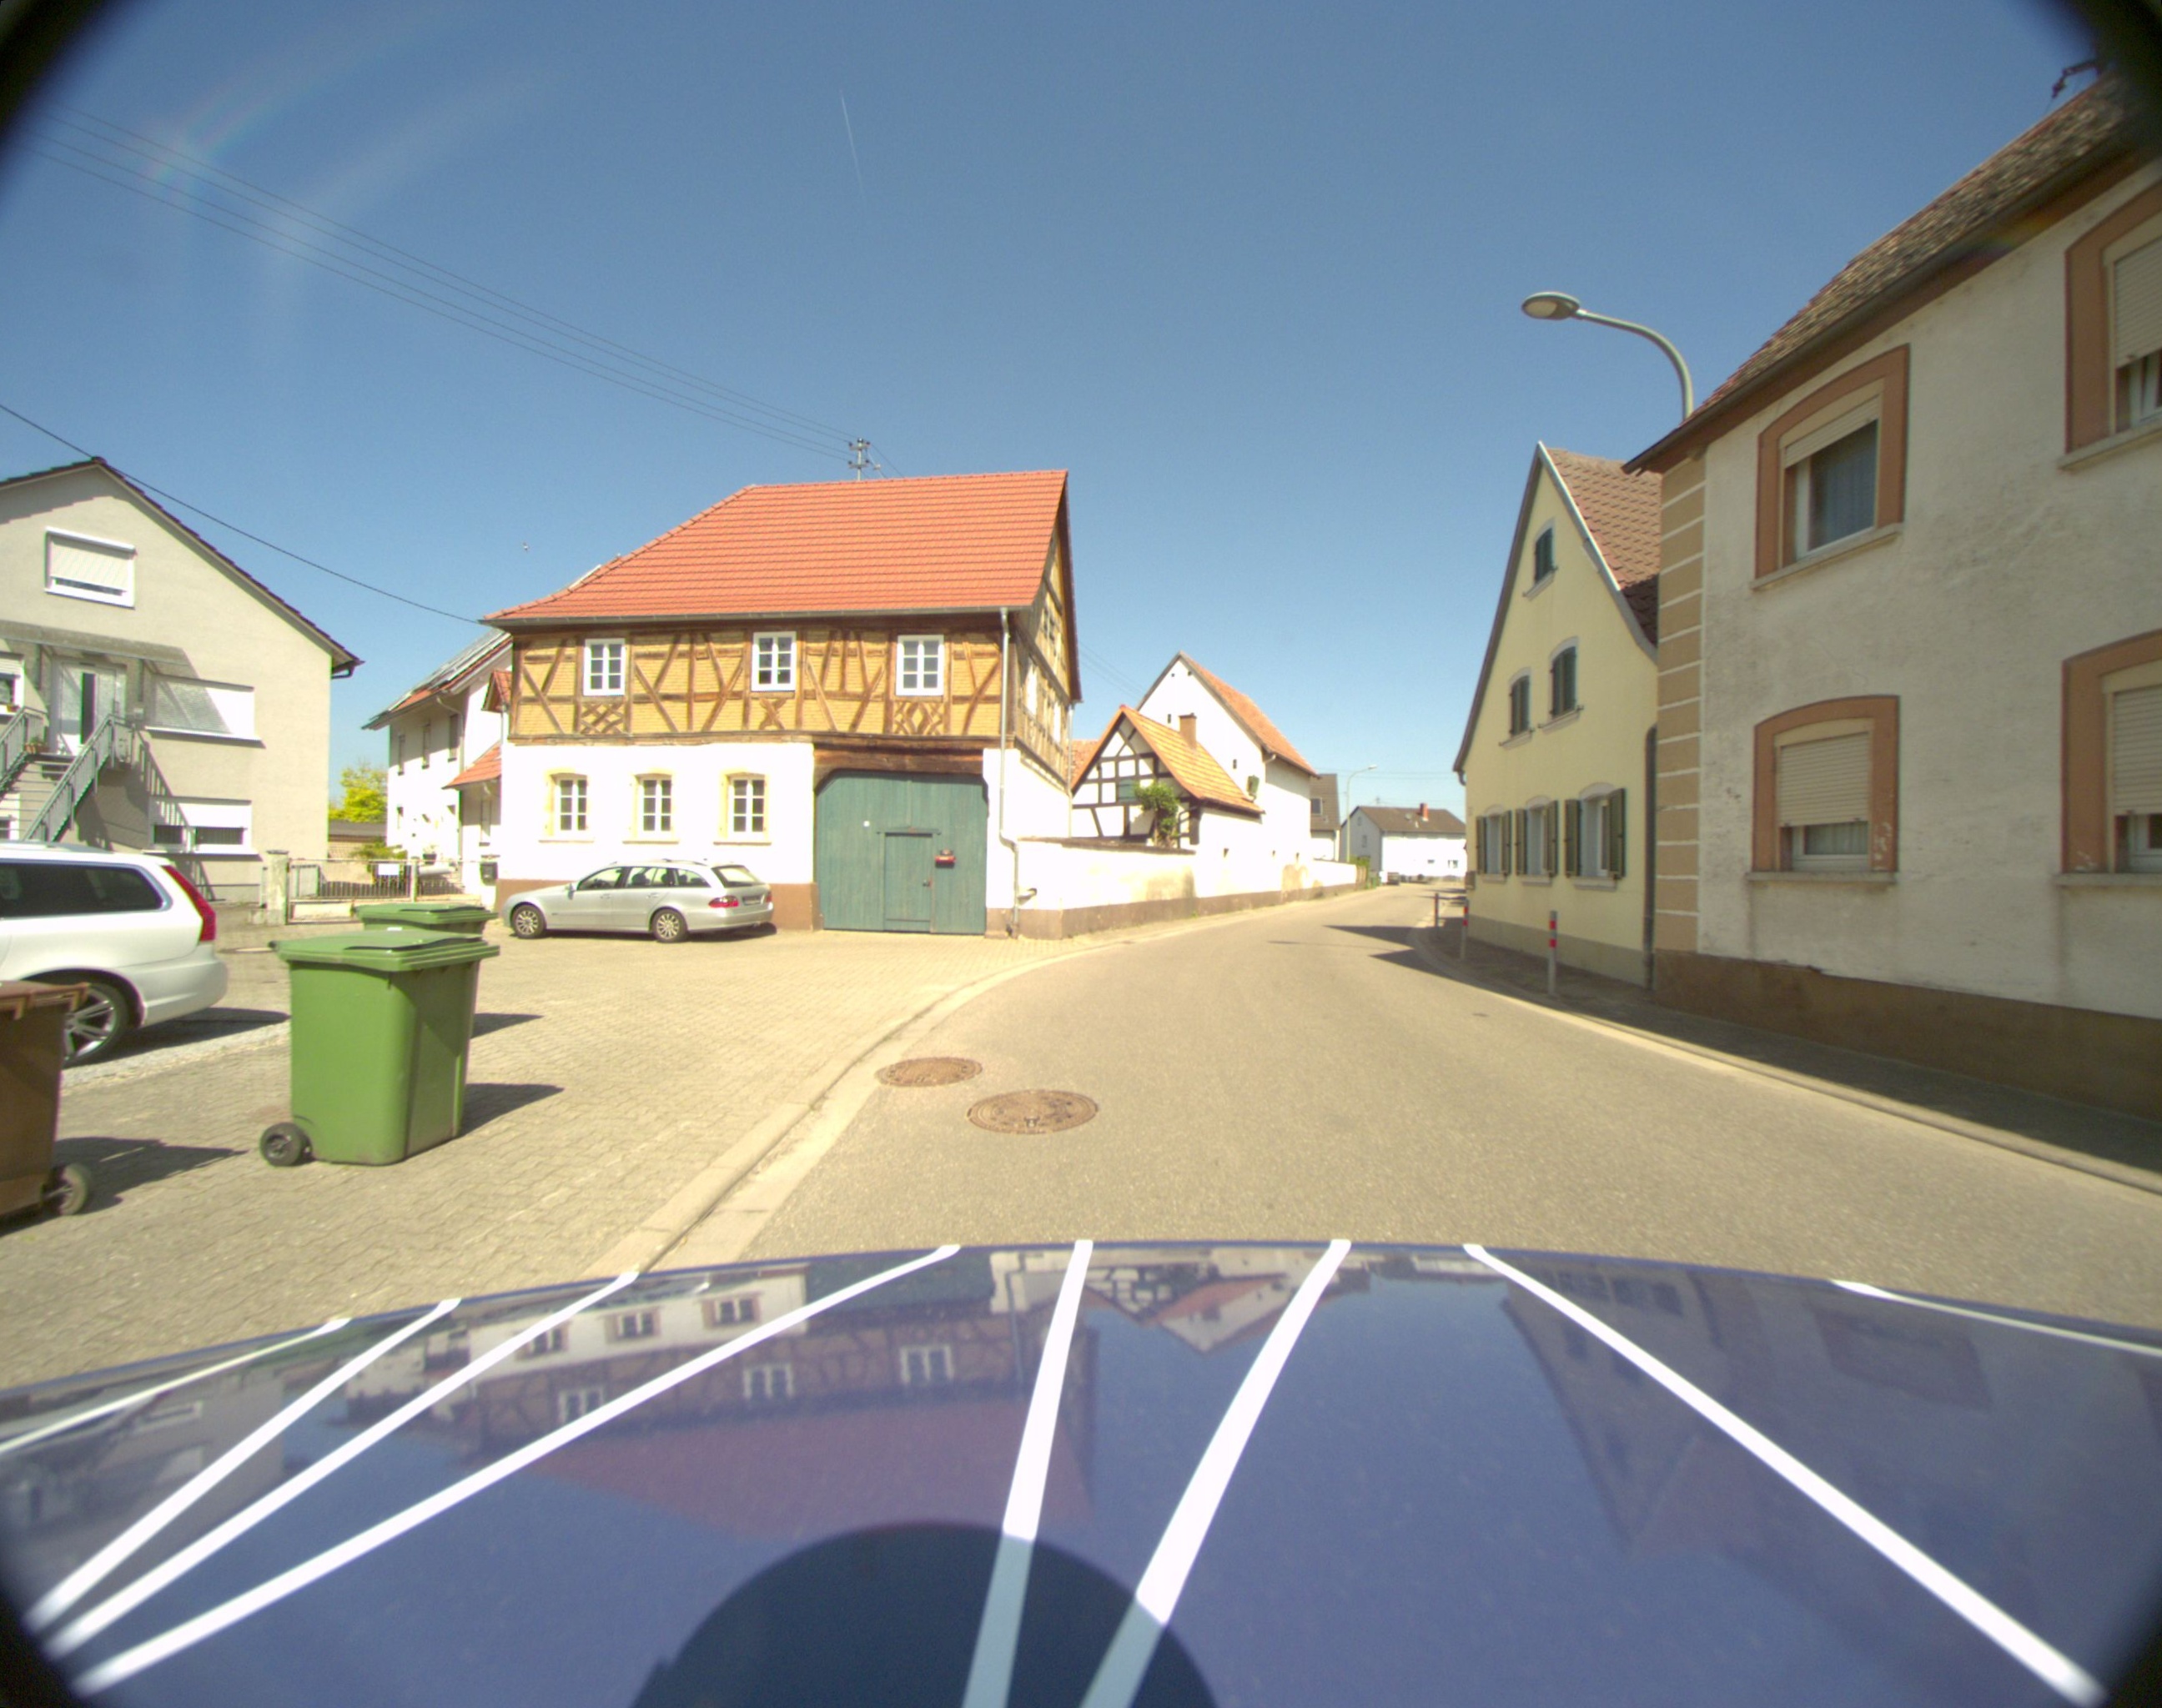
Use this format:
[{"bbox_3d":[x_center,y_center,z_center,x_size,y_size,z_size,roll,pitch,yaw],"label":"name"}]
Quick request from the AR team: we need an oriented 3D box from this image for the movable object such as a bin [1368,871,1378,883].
[{"bbox_3d":[23.272,1.845,60.561,0.551,0.971,0.433,2,0,2],"label":"movable object such as a bin"}]

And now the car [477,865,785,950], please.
[{"bbox_3d":[-8.327,0.940,14.299,4.761,1.443,2.002,0,-1,8],"label":"car"}]

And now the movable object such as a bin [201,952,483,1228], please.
[{"bbox_3d":[-3.469,1.062,3.623,0.688,1.085,0.638,2,0,5],"label":"movable object such as a bin"}]

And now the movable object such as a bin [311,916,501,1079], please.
[{"bbox_3d":[-5.059,1.047,5.749,0.721,1.075,0.755,2,0,1],"label":"movable object such as a bin"}]

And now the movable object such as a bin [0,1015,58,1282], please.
[{"bbox_3d":[-4.200,1.098,2.720,0.445,0.944,0.462,2,0,5],"label":"movable object such as a bin"}]

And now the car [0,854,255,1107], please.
[{"bbox_3d":[-7.699,0.746,3.910,1.813,1.519,4.301,2,-1,11],"label":"car"}]

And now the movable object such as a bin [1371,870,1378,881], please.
[{"bbox_3d":[27.229,1.970,70.494,0.504,0.971,0.433,1,0,27],"label":"movable object such as a bin"}]
